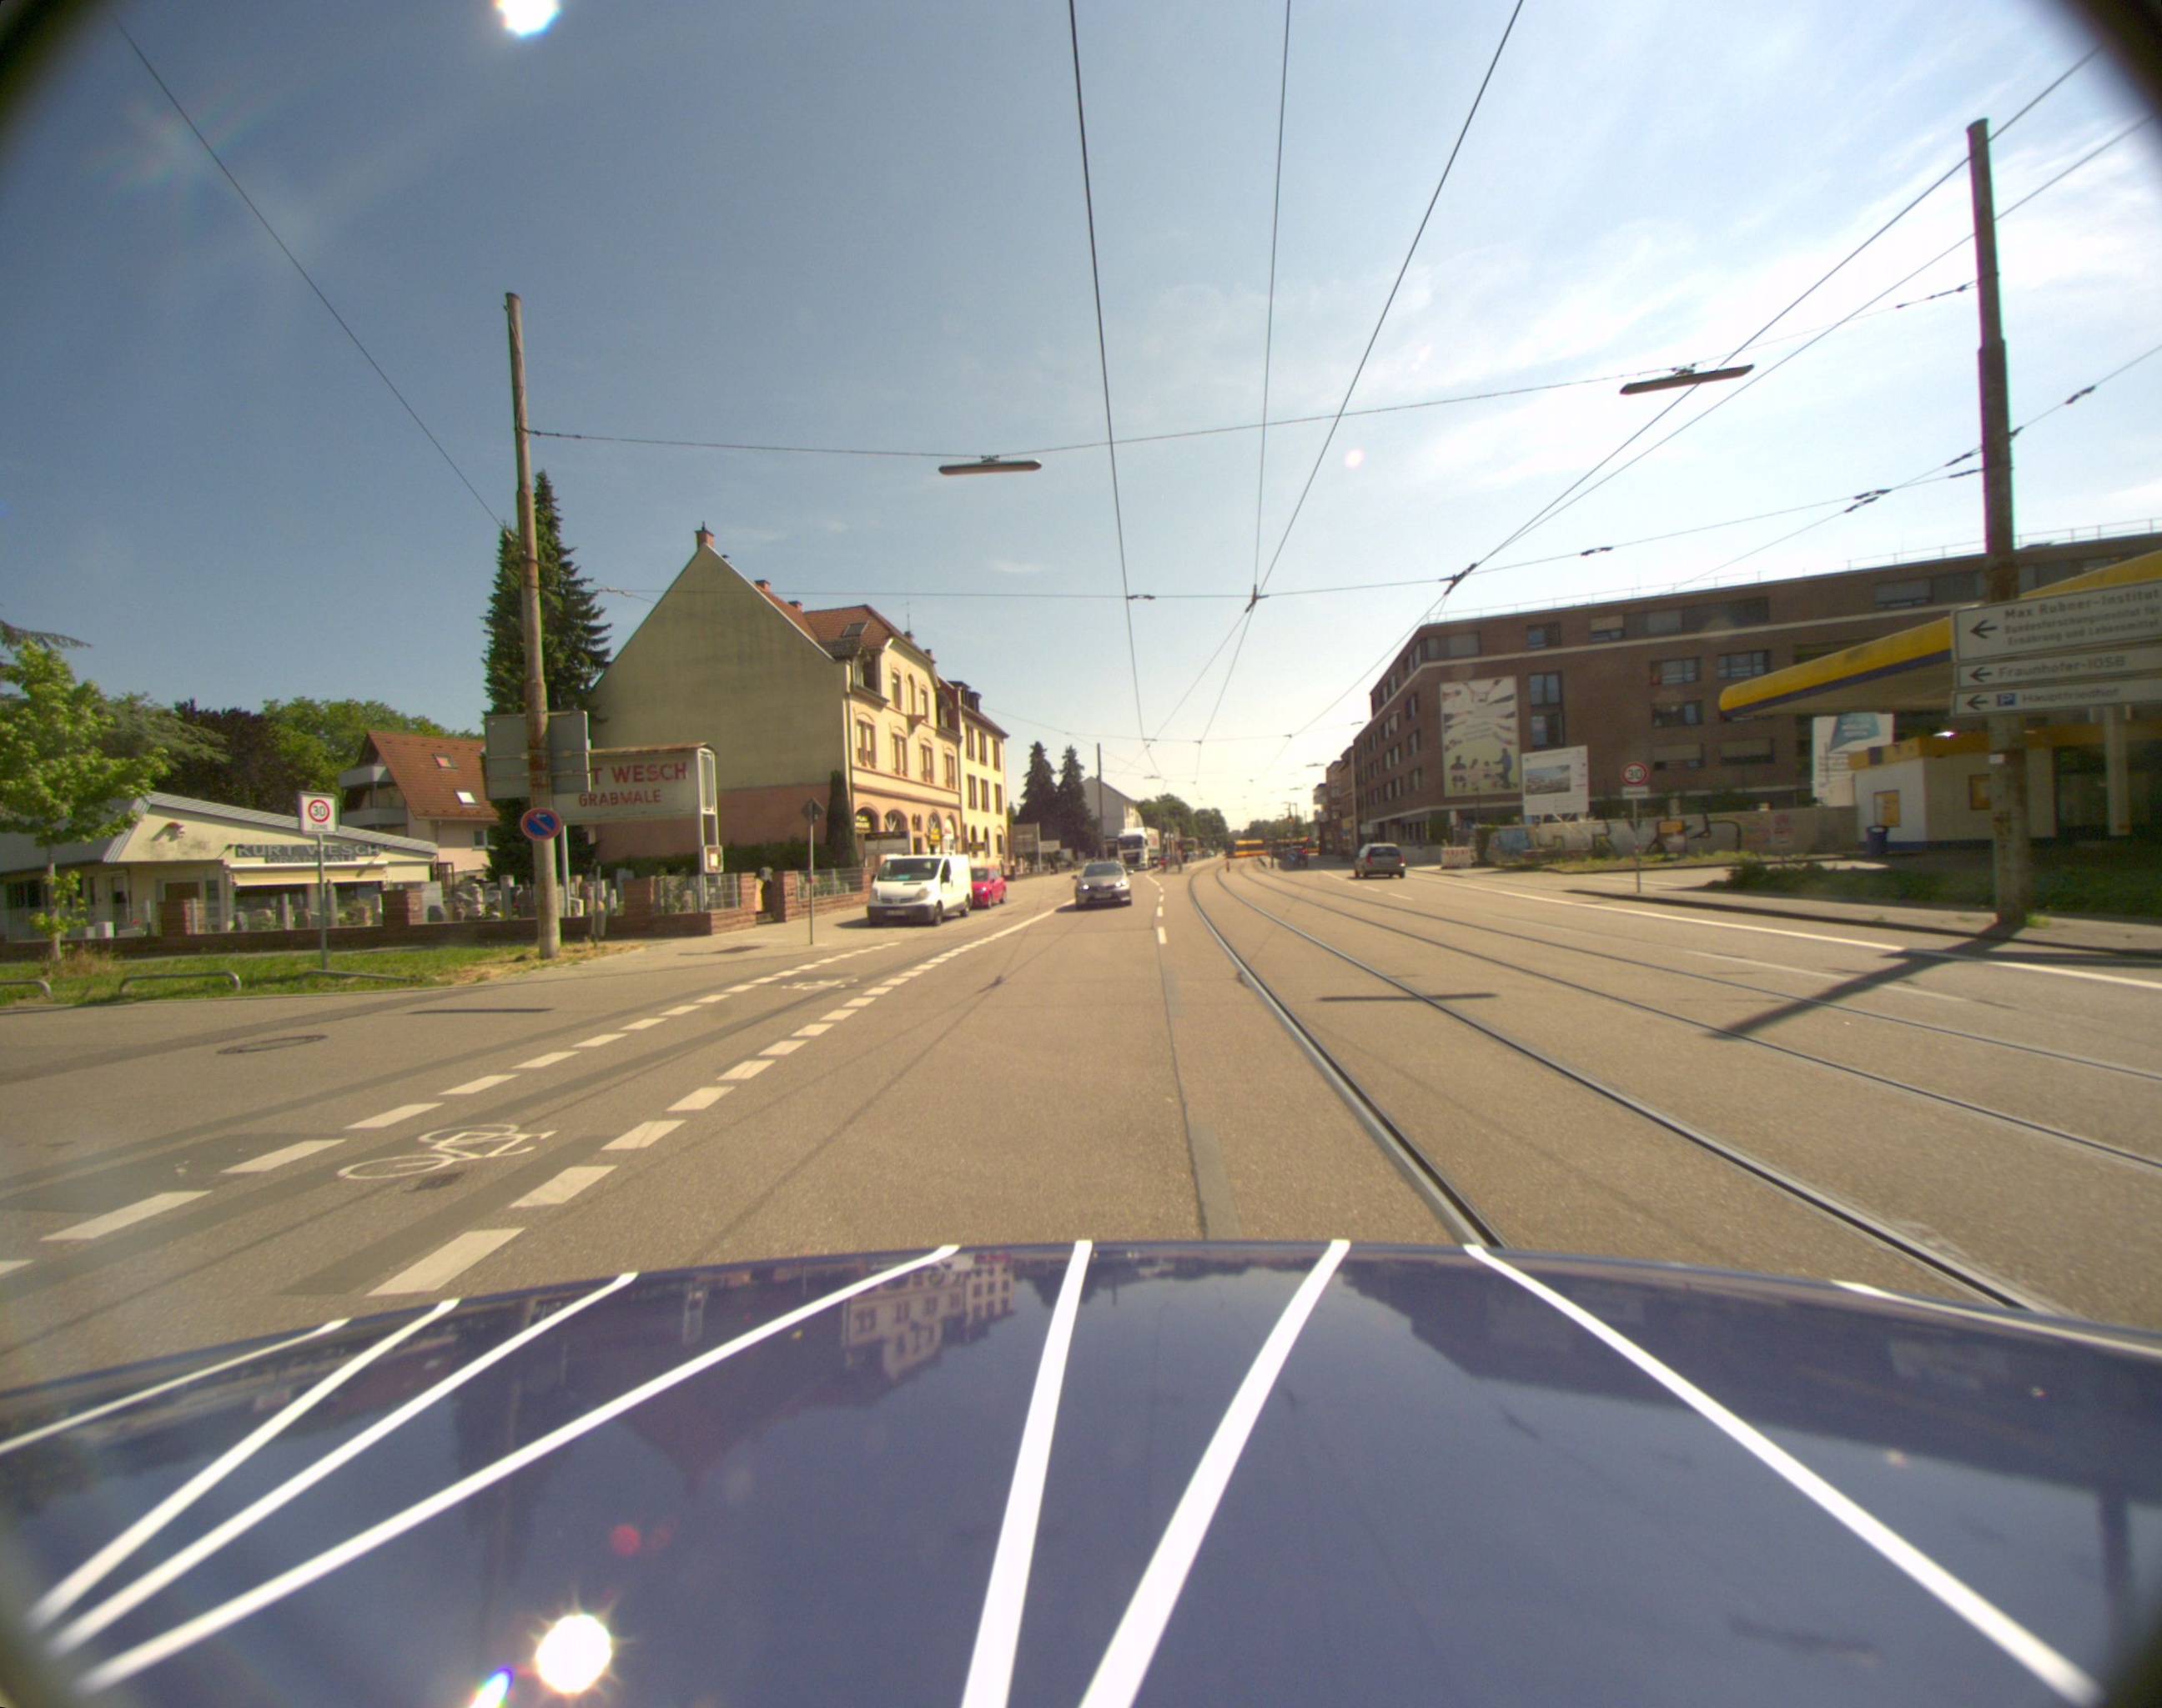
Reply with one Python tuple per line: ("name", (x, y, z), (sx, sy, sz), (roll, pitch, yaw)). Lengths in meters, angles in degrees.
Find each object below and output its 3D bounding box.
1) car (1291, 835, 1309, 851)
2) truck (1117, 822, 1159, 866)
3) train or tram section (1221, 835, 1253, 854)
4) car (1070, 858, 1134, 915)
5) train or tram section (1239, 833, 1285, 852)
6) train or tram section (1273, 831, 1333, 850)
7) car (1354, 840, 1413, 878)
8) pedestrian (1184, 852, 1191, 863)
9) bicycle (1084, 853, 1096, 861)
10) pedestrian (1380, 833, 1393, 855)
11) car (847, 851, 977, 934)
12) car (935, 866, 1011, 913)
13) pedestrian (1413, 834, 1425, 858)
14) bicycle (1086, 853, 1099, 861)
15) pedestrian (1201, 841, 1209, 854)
("car", (27.405, -1.360, 95.246), (1.804, 1.718, 4.192), (-4, 0, 13))
("truck", (5.425, -0.901, 70.998), (2.654, 3.772, 7.870), (-2, 0, 13))
("train or tram section", (31.110, -2.037, 150.971), (2.682, 3.460, 13.360), (-3, 0, 27))
("car", (0.749, 0.946, 23.998), (1.695, 1.440, 4.482), (-4, 0, 5))
("train or tram section", (38.442, -2.433, 161.181), (13.363, 3.460, 2.681), (-3, 1, -44))
("train or tram section", (48.976, -2.950, 167.573), (13.345, 3.460, 2.685), (-3, 1, -17))
("car", (13.596, 0.194, 34.343), (1.749, 1.562, 3.894), (-2, 1, 11))
("pedestrian", (12.127, 0.435, 86.453), (0.630, 1.247, 0.710), (-2, 1, 12))
("bicycle", (1.392, 0.484, 113.758), (1.687, 1.104, 0.513), (-2, 0, 14))
("pedestrian", (26.369, -0.873, 65.672), (0.846, 1.808, 0.839), (-3, 1, 13))
("car", (-4.582, 0.959, 21.549), (1.980, 2.043, 5.193), (-1, 0, 6))
("car", (-3.847, 1.228, 27.794), (1.725, 1.435, 4.313), (-1, 1, 6))
("pedestrian", (24.256, -0.572, 54.566), (0.582, 1.654, 0.700), (-2, 1, 11))
("bicycle", (1.646, 0.477, 112.619), (1.794, 1.104, 0.513), (-2, 0, 17))
("pedestrian", (17.529, -0.903, 107.674), (0.982, 1.848, 1.239), (-2, 0, 13))
